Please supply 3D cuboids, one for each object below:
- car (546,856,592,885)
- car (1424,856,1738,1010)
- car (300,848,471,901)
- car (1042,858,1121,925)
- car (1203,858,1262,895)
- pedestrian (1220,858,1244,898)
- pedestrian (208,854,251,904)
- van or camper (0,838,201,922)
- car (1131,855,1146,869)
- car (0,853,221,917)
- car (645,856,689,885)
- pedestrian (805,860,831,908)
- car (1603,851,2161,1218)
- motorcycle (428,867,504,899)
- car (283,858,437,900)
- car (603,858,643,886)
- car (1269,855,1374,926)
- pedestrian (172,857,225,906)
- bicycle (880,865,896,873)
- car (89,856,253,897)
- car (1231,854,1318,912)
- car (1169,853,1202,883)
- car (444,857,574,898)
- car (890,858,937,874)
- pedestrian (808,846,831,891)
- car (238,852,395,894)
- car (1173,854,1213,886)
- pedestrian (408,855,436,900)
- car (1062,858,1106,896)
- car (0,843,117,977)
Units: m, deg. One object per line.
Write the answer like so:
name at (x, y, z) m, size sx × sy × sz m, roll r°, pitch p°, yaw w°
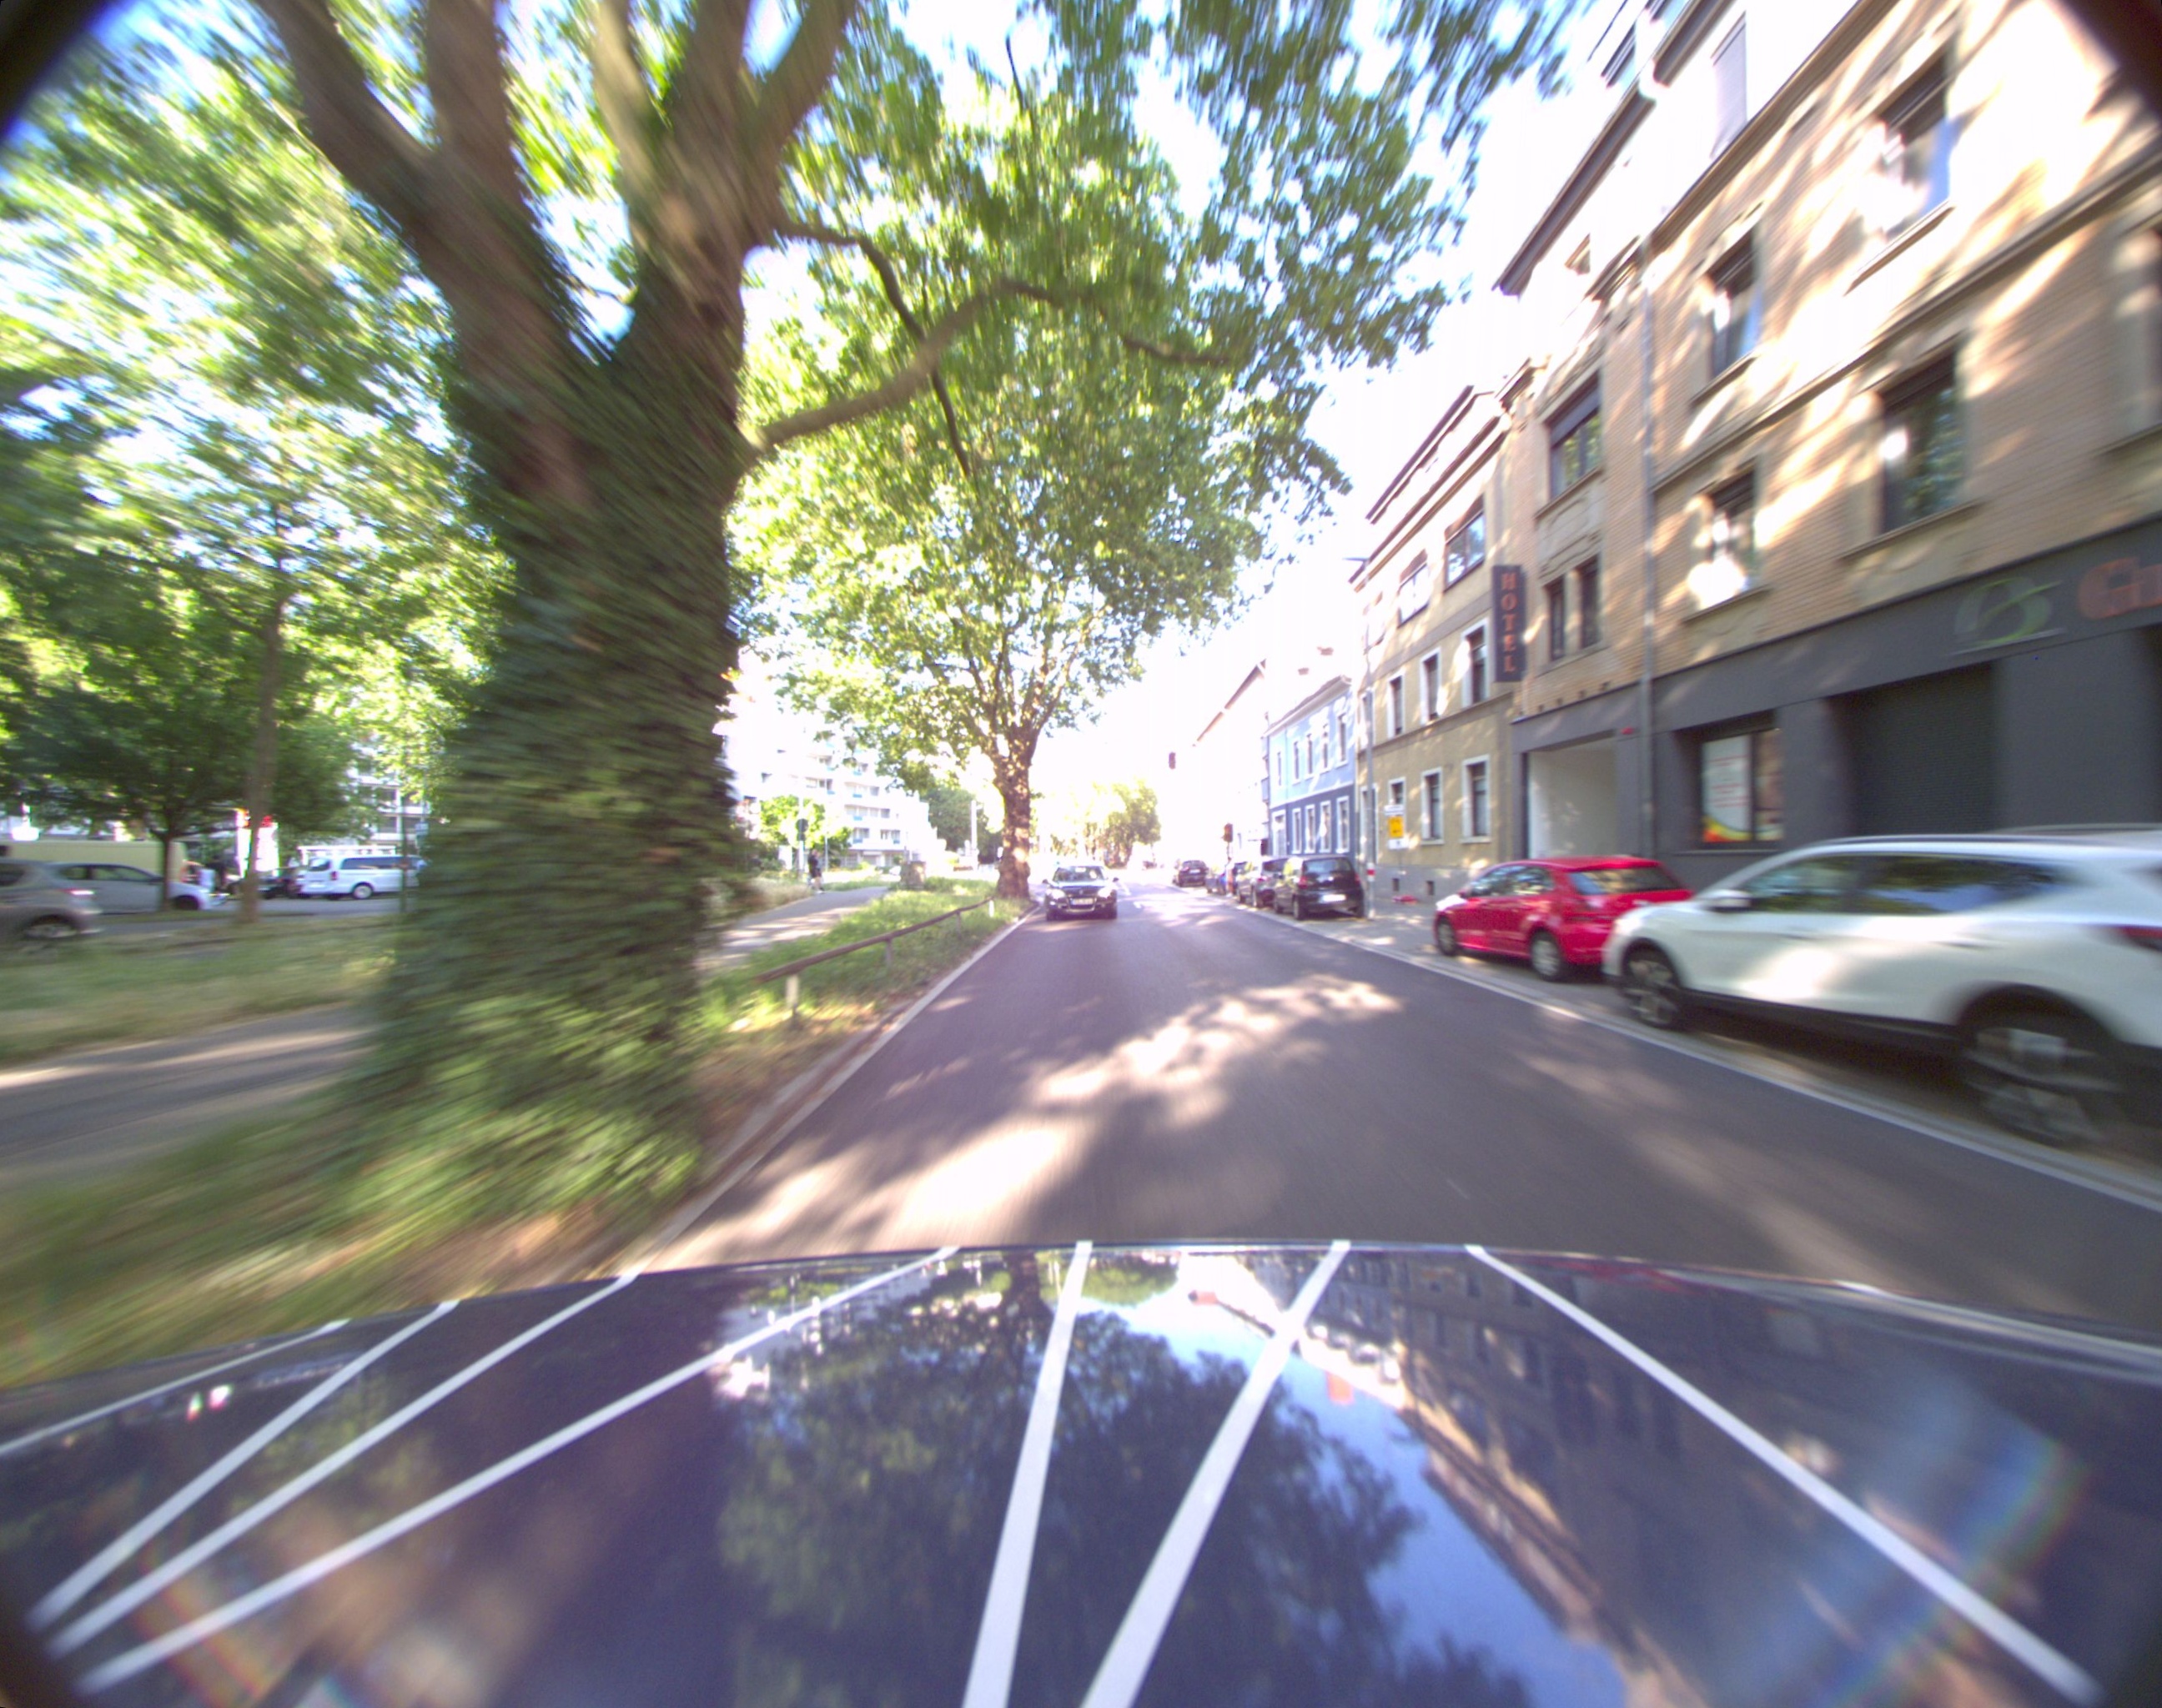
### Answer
car at (-30.763, 1.050, 45.748) m, size 1.876 × 1.628 × 3.993 m, roll 1°, pitch -3°, yaw -28°
car at (6.205, 0.853, 10.024) m, size 1.682 × 1.583 × 3.756 m, roll -2°, pitch 0°, yaw 1°
car at (-29.692, 0.963, 32.706) m, size 1.997 × 2.083 × 5.061 m, roll -1°, pitch -3°, yaw 17°
car at (0.068, 0.920, 20.581) m, size 1.844 × 1.536 × 4.524 m, roll -2°, pitch 0°, yaw 1°
car at (6.609, 0.952, 33.611) m, size 1.654 × 1.478 × 4.262 m, roll -2°, pitch 0°, yaw -1°
pedestrian at (6.072, 0.963, 30.585) m, size 0.865 × 1.560 × 0.706 m, roll 0°, pitch 0°, yaw 8°
pedestrian at (-31.313, 0.912, 27.948) m, size 0.962 × 1.799 × 0.687 m, roll 0°, pitch 0°, yaw 17°
van or camper at (-29.461, 0.696, 21.567) m, size 2.260 × 2.234 × 5.378 m, roll 0°, pitch 0°, yaw 19°
car at (7.475, 1.059, 99.198) m, size 1.898 × 1.782 × 4.001 m, roll 0°, pitch 0°, yaw 2°
car at (-24.685, 0.801, 19.151) m, size 1.672 × 1.445 × 3.564 m, roll -1°, pitch -3°, yaw 17°
car at (-25.701, 1.071, 47.092) m, size 1.942 × 1.649 × 4.468 m, roll 2°, pitch -4°, yaw -34°
pedestrian at (-10.761, 1.226, 31.103) m, size 0.839 × 1.921 × 0.781 m, roll 0°, pitch 0°, yaw -8°
car at (5.654, 0.804, 4.924) m, size 1.682 × 1.575 × 4.200 m, roll -2°, pitch 0°, yaw 1°
motorcycle at (-25.302, 1.158, 31.319) m, size 0.950 × 1.241 × 2.319 m, roll 0°, pitch 0°, yaw 13°
car at (-32.532, 1.190, 34.482) m, size 1.997 × 1.764 × 4.642 m, roll -1°, pitch -3°, yaw 17°
car at (-28.277, 1.127, 46.833) m, size 1.832 × 1.577 × 4.359 m, roll 2°, pitch -4°, yaw -34°
car at (6.092, 0.854, 19.667) m, size 1.681 × 1.595 × 3.706 m, roll -2°, pitch 0°, yaw 3°
pedestrian at (-31.330, 0.957, 26.985) m, size 0.881 × 1.688 × 0.951 m, roll 0°, pitch 0°, yaw 18°
bicycle at (-20.706, 1.579, 81.507) m, size 1.578 × 0.780 × 0.463 m, roll -1°, pitch 0°, yaw -22°
car at (-41.411, 1.082, 34.778) m, size 2.000 × 1.764 × 4.635 m, roll 0°, pitch -3°, yaw -3°
car at (6.164, 0.872, 24.678) m, size 1.786 × 1.663 × 4.156 m, roll -2°, pitch 0°, yaw 1°
car at (6.781, 0.863, 49.543) m, size 1.668 × 1.808 × 4.005 m, roll -2°, pitch 0°, yaw 2°
car at (-22.565, 0.994, 30.181) m, size 1.673 × 1.513 × 3.993 m, roll 0°, pitch -3°, yaw 12°
car at (-16.513, 1.182, 74.865) m, size 4.212 × 1.502 × 1.797 m, roll 0°, pitch 0°, yaw -29°
pedestrian at (-10.994, 0.618, 31.941) m, size 0.785 × 1.869 × 0.803 m, roll 0°, pitch 0°, yaw -10°
car at (-35.007, 0.949, 35.003) m, size 1.997 × 1.764 × 4.642 m, roll -1°, pitch -3°, yaw 17°
car at (6.457, 0.895, 44.194) m, size 1.910 × 1.663 × 4.494 m, roll -2°, pitch 0°, yaw 4°
pedestrian at (-26.329, 0.931, 30.360) m, size 0.560 × 1.741 × 0.532 m, roll -1°, pitch 2°, yaw 12°
car at (0.138, 0.885, 30.763) m, size 1.654 × 1.445 × 3.535 m, roll 0°, pitch 0°, yaw 0°
car at (-15.209, 0.745, 9.058) m, size 1.909 × 1.760 × 4.320 m, roll 0°, pitch 0°, yaw 0°
